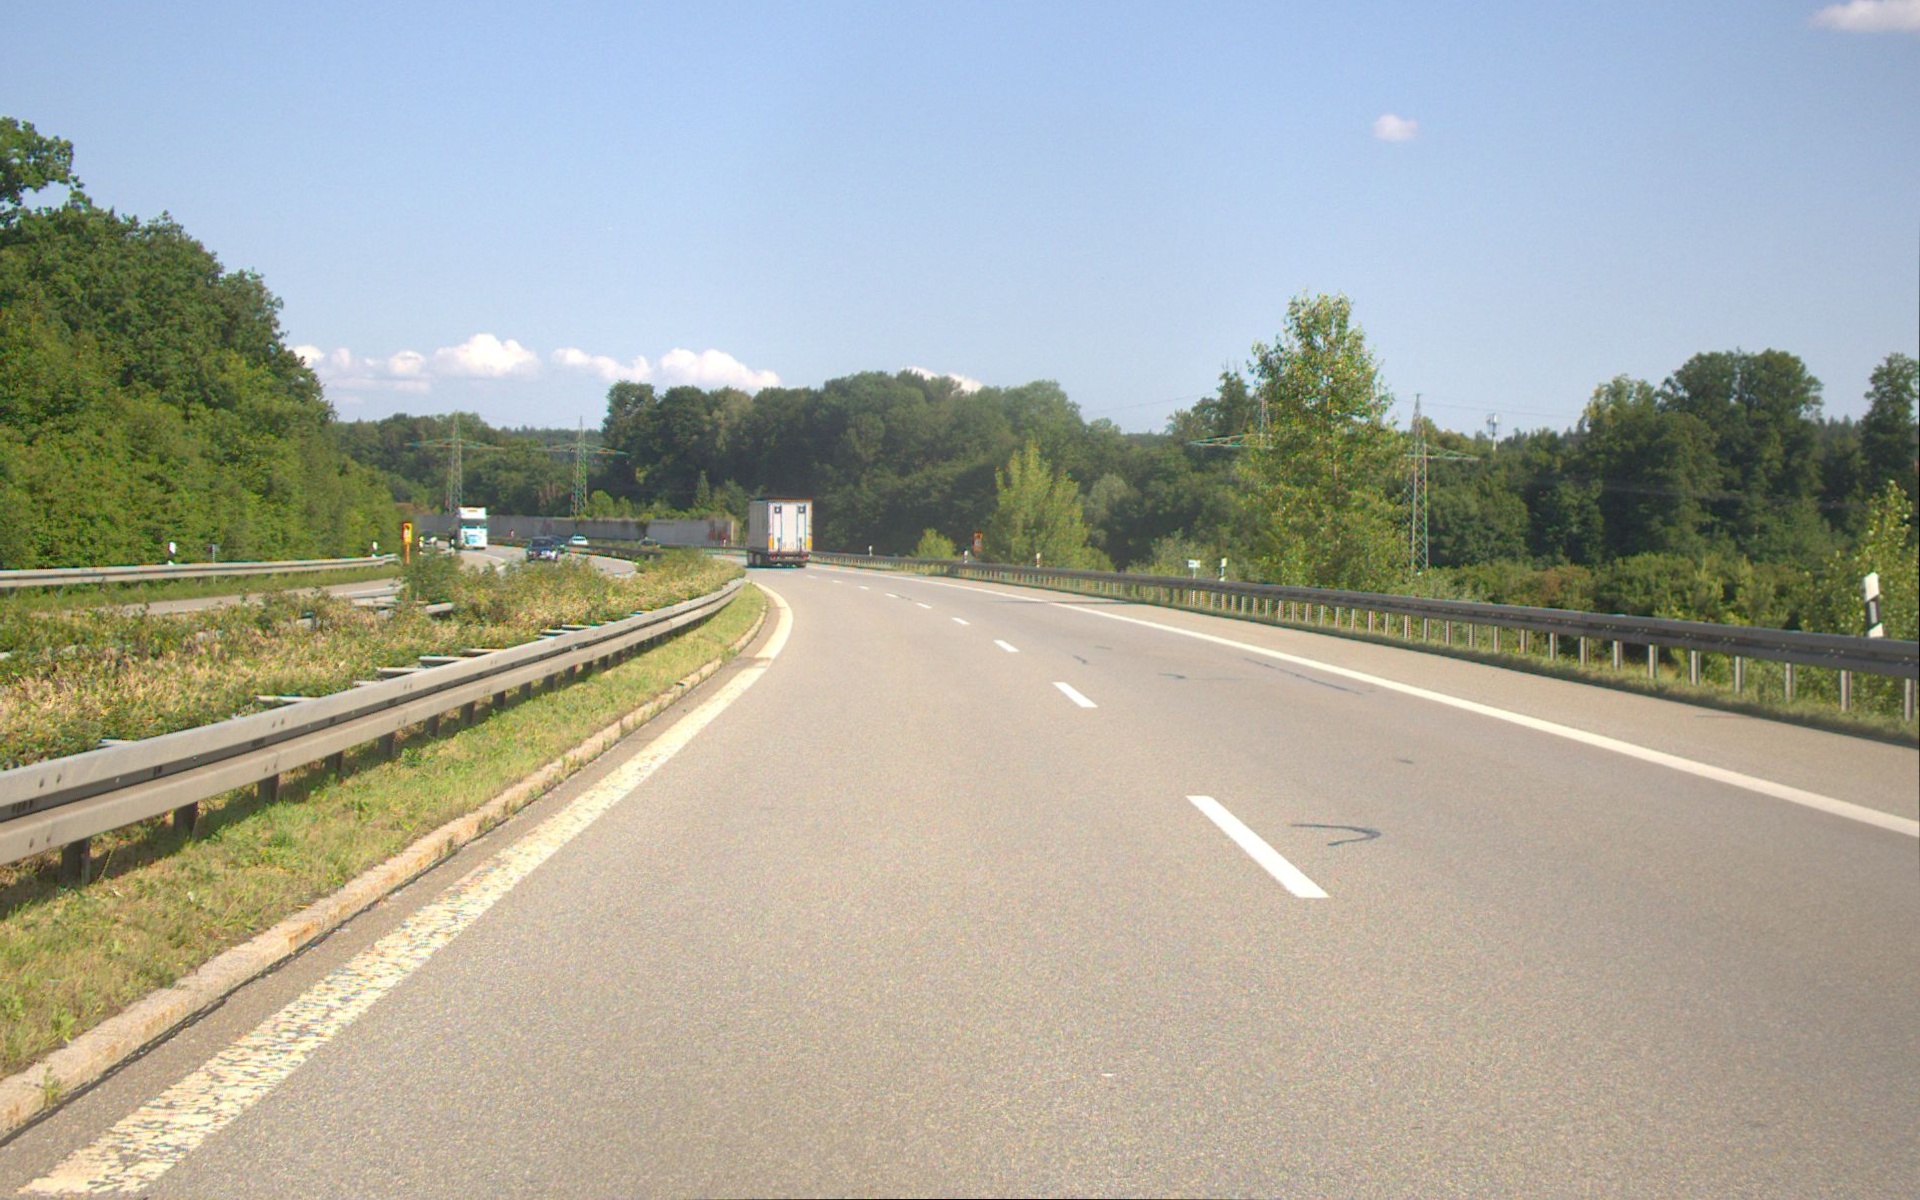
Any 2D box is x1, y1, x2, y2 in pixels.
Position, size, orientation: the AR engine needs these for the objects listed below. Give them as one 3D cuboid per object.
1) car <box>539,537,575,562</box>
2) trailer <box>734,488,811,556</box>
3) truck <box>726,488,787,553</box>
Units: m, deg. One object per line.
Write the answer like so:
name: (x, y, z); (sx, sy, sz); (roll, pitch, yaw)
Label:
car: (-23.815, -2.988, 202.903); (1.993, 1.427, 4.488); (0, 1, -8)
trailer: (-11.453, -4.760, 208.743); (2.883, 4.052, 12.424); (0, 2, -12)
truck: (-12.764, -4.957, 214.960); (2.829, 3.998, 6.589); (0, 2, -12)
